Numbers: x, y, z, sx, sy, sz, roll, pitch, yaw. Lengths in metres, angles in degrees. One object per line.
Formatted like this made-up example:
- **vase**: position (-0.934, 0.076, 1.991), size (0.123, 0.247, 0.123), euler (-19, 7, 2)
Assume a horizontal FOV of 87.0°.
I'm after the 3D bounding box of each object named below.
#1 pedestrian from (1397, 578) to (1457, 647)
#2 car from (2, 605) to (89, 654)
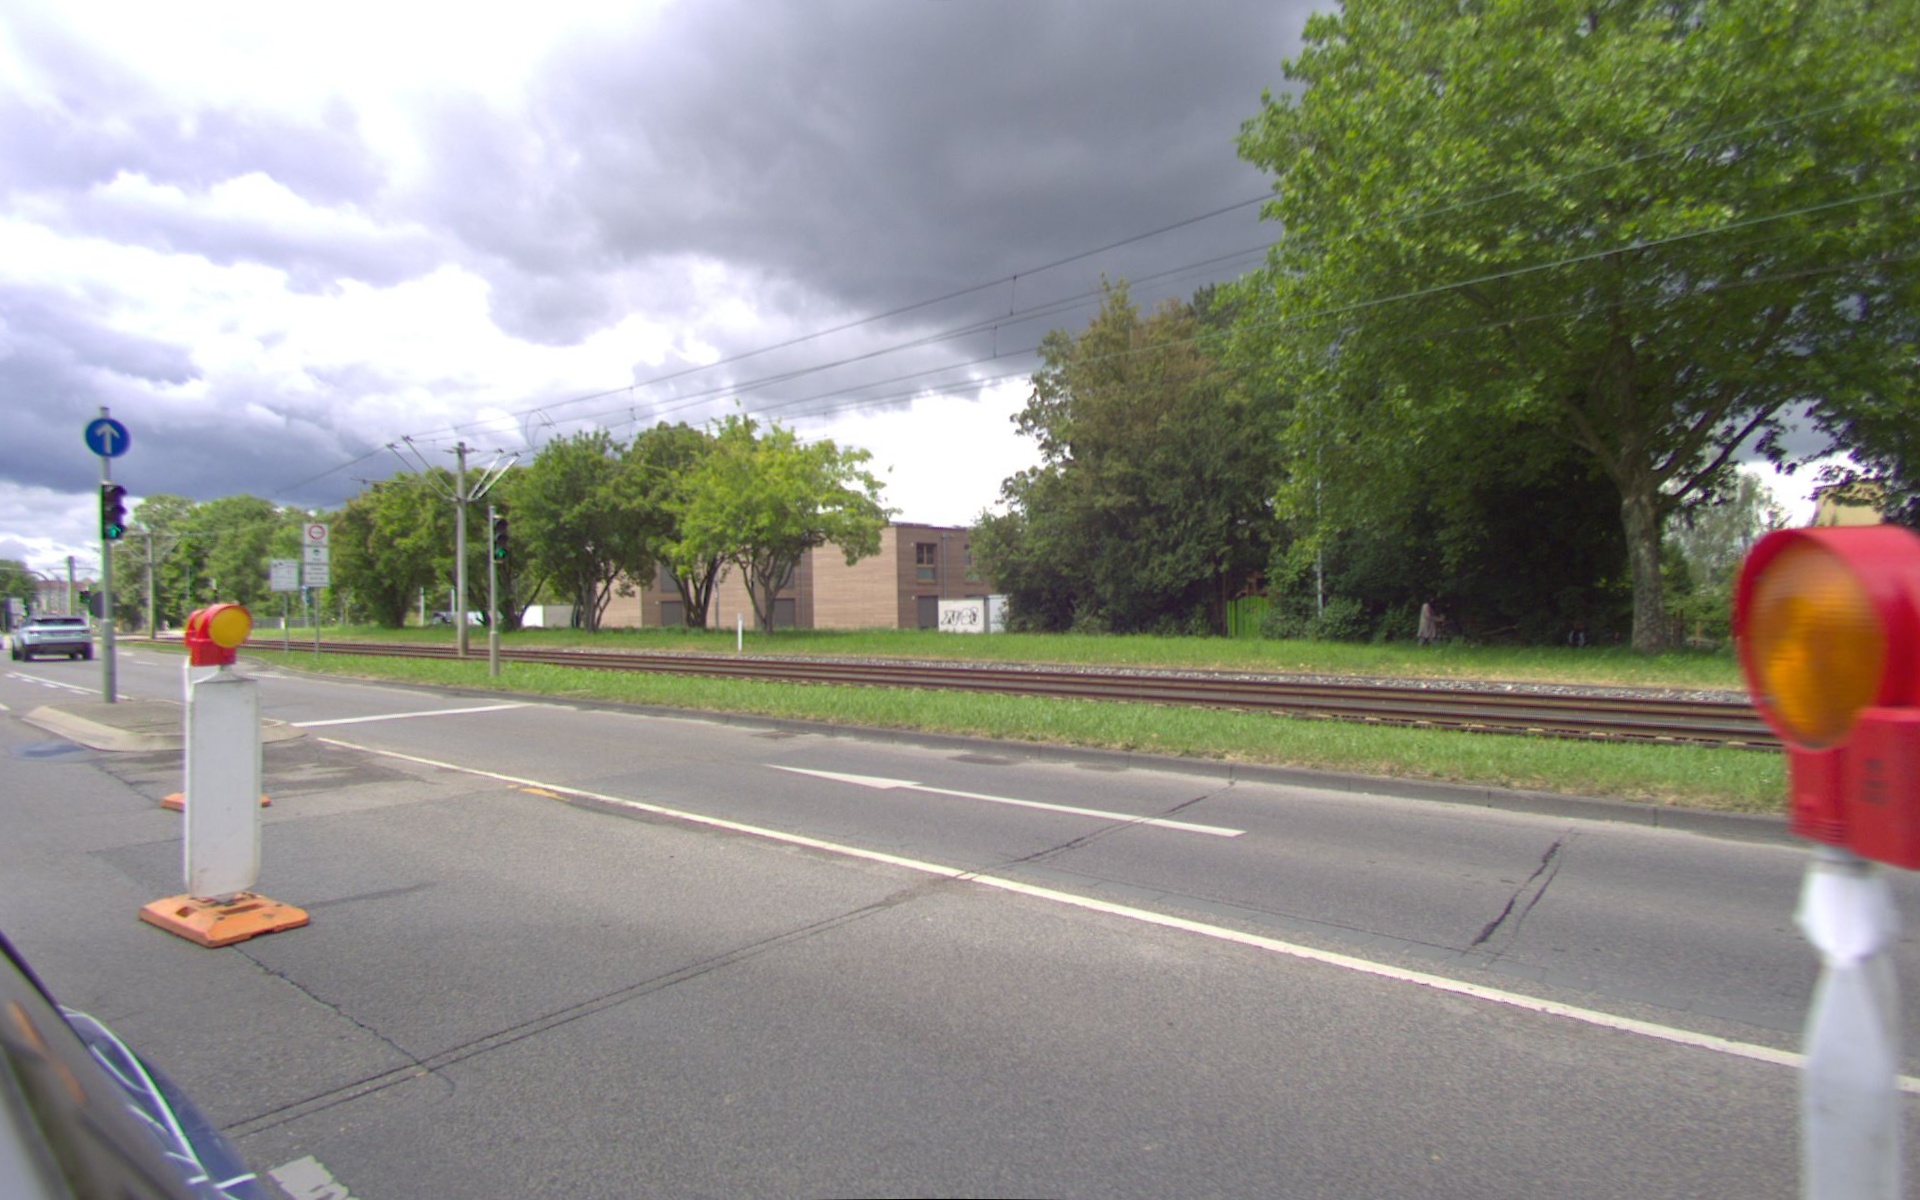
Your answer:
- **pedestrian**: position (13.739, 0.361, 29.776), size (1.363, 1.948, 1.023), euler (-1, 0, 42)
- **car**: position (-32.684, 1.019, 36.135), size (4.606, 1.622, 1.840), euler (0, -1, 42)
